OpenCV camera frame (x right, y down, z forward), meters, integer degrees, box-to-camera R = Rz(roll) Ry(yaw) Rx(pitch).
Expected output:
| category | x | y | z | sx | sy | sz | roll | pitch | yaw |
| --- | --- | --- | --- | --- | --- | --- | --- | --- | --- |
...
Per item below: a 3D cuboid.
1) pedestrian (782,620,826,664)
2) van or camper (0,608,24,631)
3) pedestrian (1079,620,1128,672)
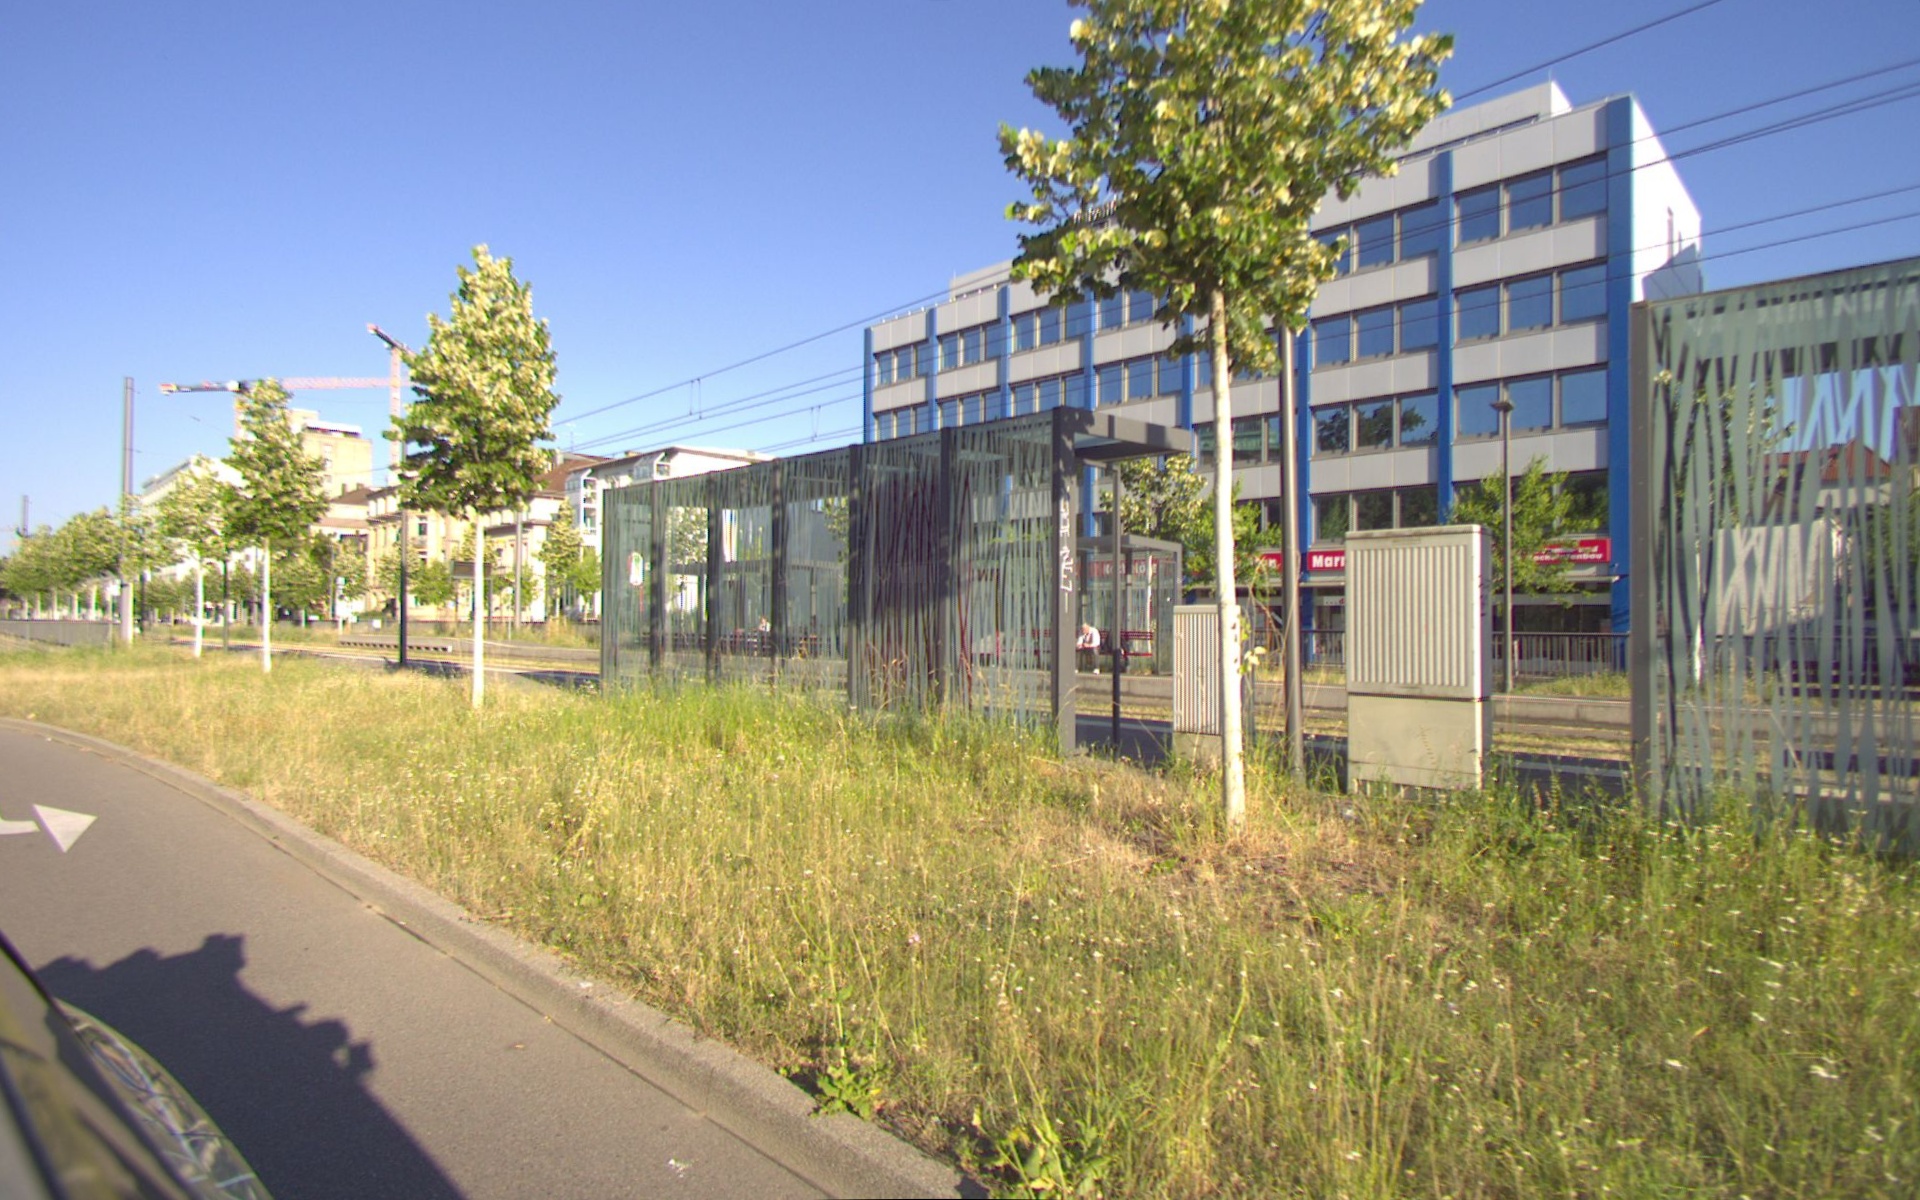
| category | x | y | z | sx | sy | sz | roll | pitch | yaw |
| --- | --- | --- | --- | --- | --- | --- | --- | --- | --- |
| pedestrian | -4.335 | 1.154 | 28.182 | 0.764 | 1.206 | 0.923 | -1 | -2 | 43 |
| van or camper | -131.857 | 2.705 | 140.728 | 2.475 | 3.192 | 7.482 | 1 | -2 | -43 |
| pedestrian | 2.954 | 0.935 | 20.884 | 0.794 | 1.055 | 0.620 | -1 | -2 | 43 |
